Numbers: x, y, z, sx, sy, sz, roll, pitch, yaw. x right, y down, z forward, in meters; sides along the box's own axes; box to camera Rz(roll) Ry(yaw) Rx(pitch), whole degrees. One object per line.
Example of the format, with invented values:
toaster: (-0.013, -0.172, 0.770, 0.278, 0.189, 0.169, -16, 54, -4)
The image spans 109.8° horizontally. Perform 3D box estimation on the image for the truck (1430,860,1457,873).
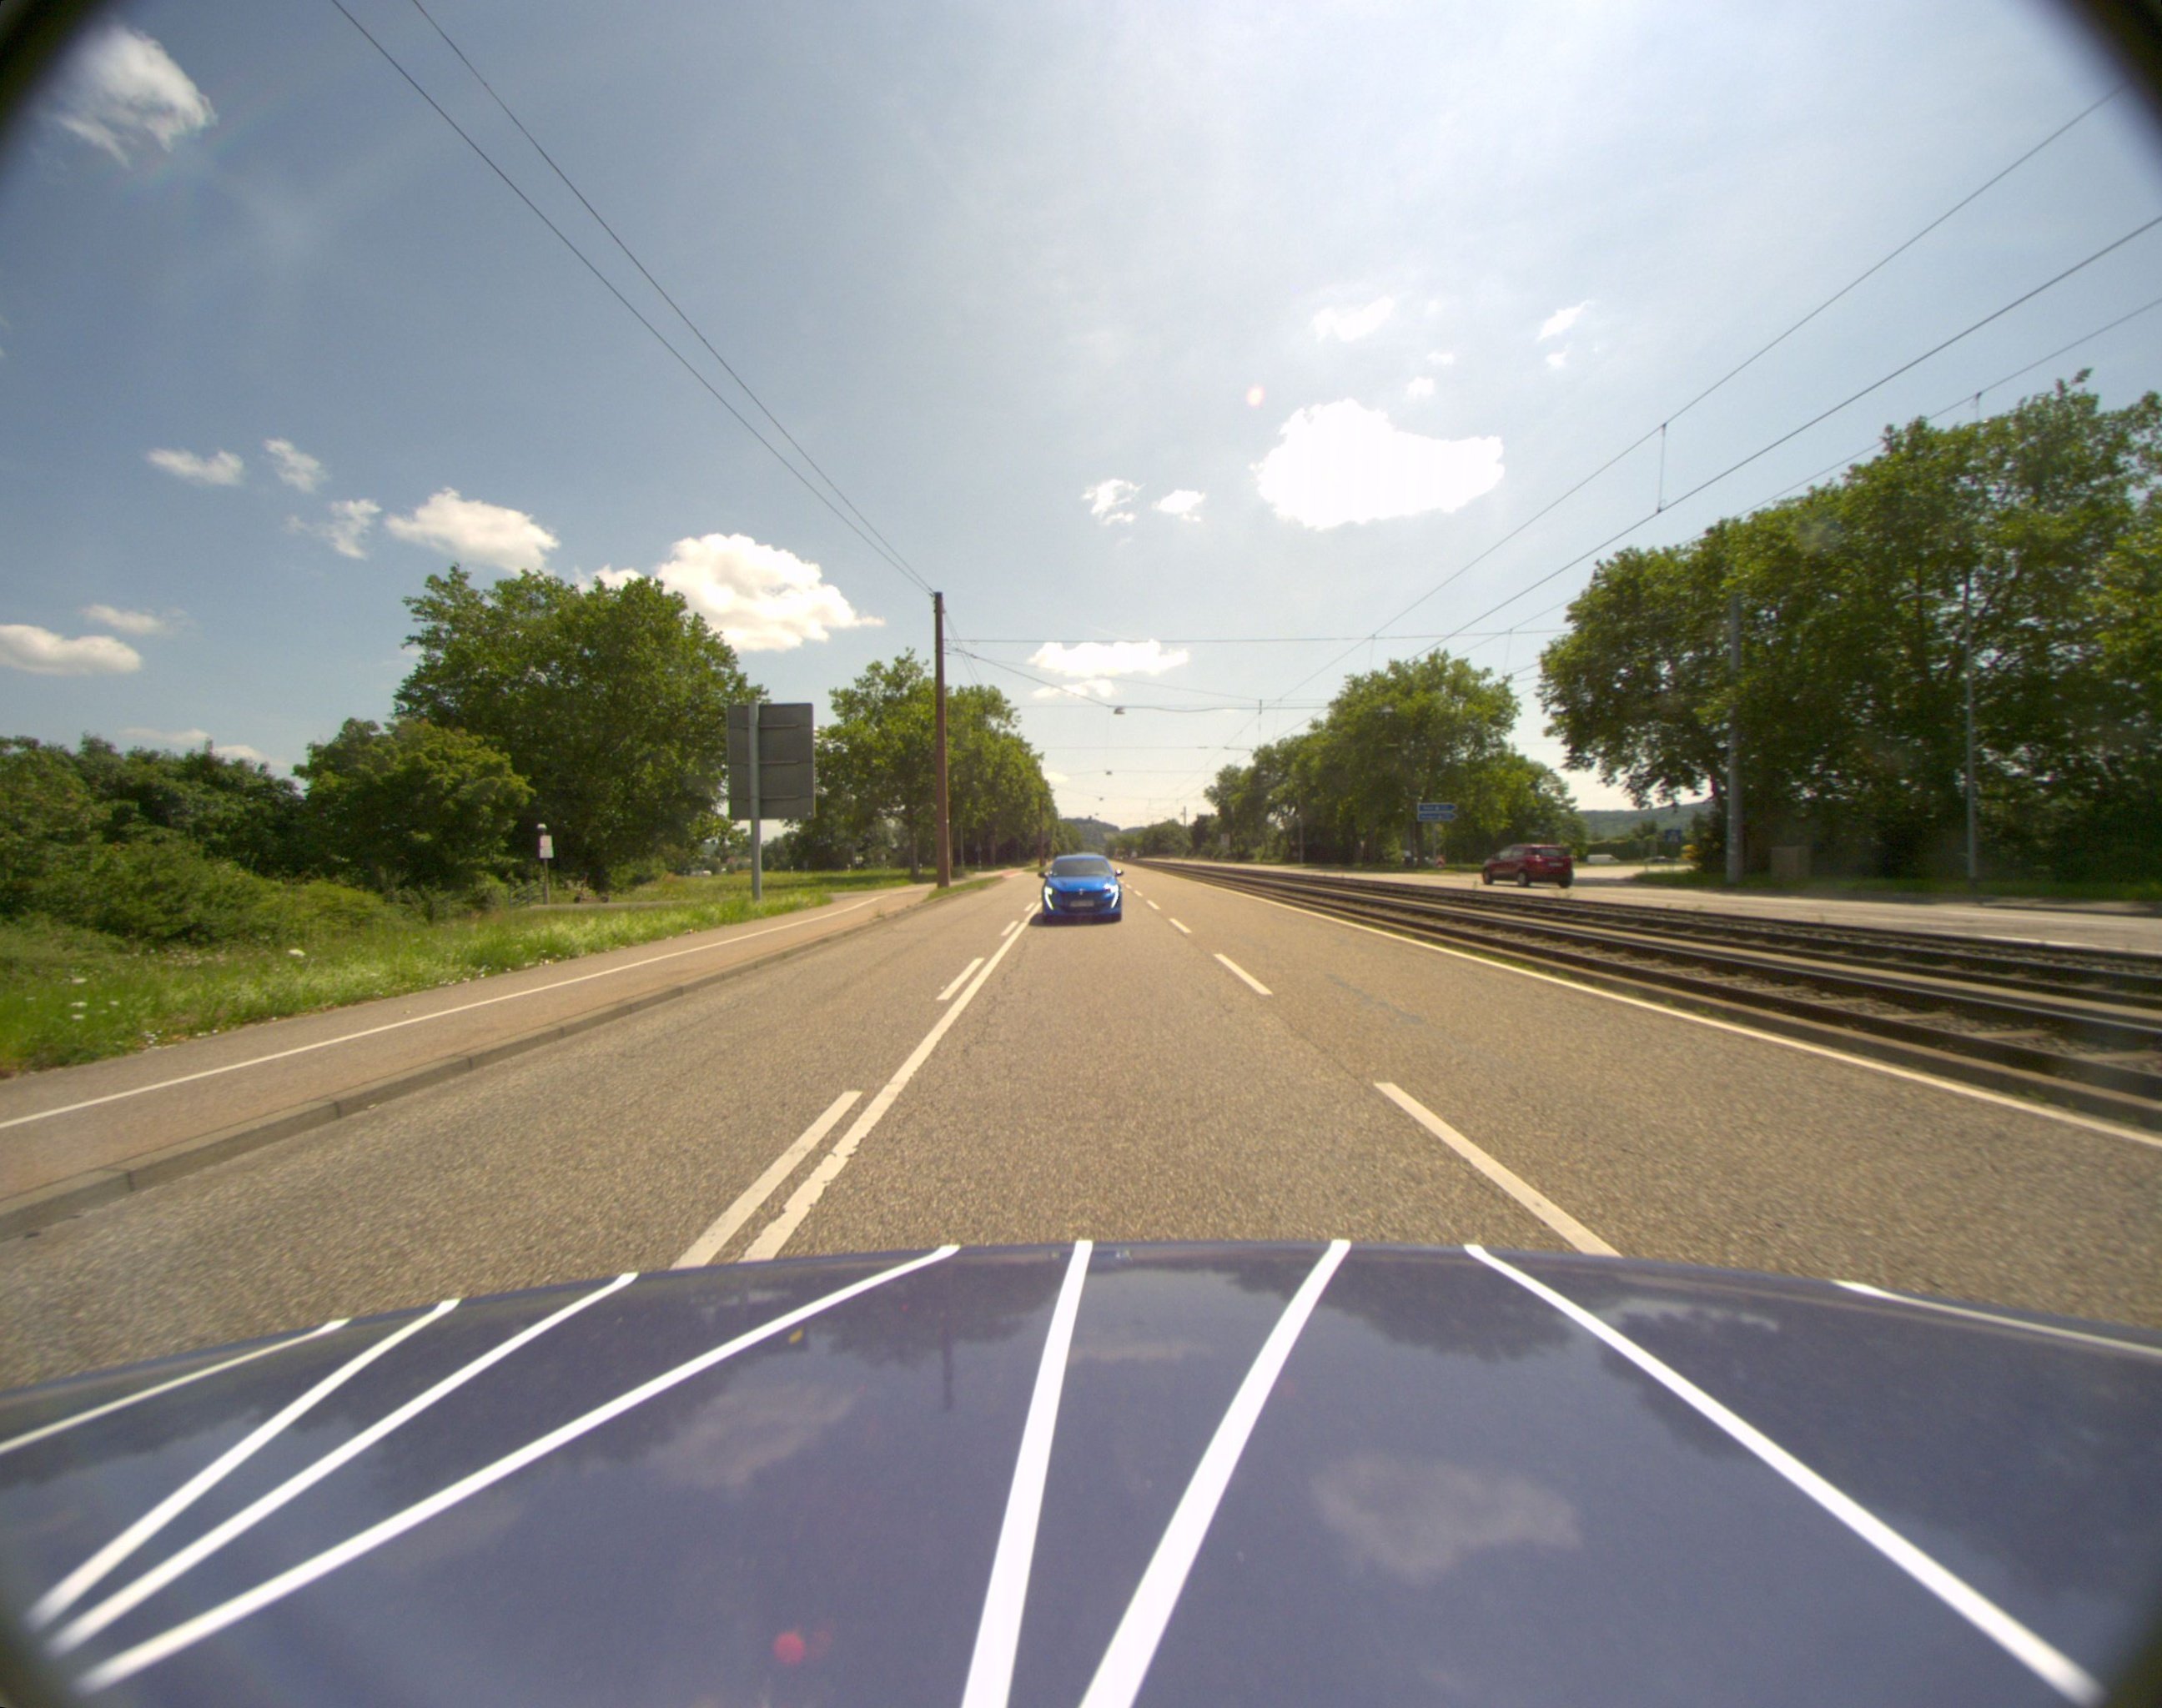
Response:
truck: (94.529, 3.228, 198.130, 6.125, 3.362, 3.336, -1, 1, 31)

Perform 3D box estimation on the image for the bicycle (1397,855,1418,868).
bicycle: (24.620, 0.551, 57.338, 0.623, 0.934, 2.091, -1, 1, 0)

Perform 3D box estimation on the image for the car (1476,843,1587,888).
car: (17.339, 0.413, 29.510, 1.806, 1.616, 4.211, 0, 0, 0)

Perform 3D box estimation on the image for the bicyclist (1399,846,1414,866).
bicyclist: (24.597, 0.150, 57.345, 0.623, 1.509, 1.160, -1, 1, 0)

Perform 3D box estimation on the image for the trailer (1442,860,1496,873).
trailer: (99.591, 3.200, 195.139, 12.346, 3.420, 3.344, -1, 1, 31)

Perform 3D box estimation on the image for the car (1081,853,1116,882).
car: (0.933, 0.706, 41.570, 1.771, 1.422, 4.000, -2, 0, 1)

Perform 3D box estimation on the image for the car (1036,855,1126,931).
car: (0.028, 0.785, 17.596, 1.771, 1.463, 4.467, -2, 0, 1)

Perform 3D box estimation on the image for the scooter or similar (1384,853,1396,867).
scooter or similar: (26.547, 0.518, 65.236, 0.462, 1.144, 1.235, -2, 1, -1)
